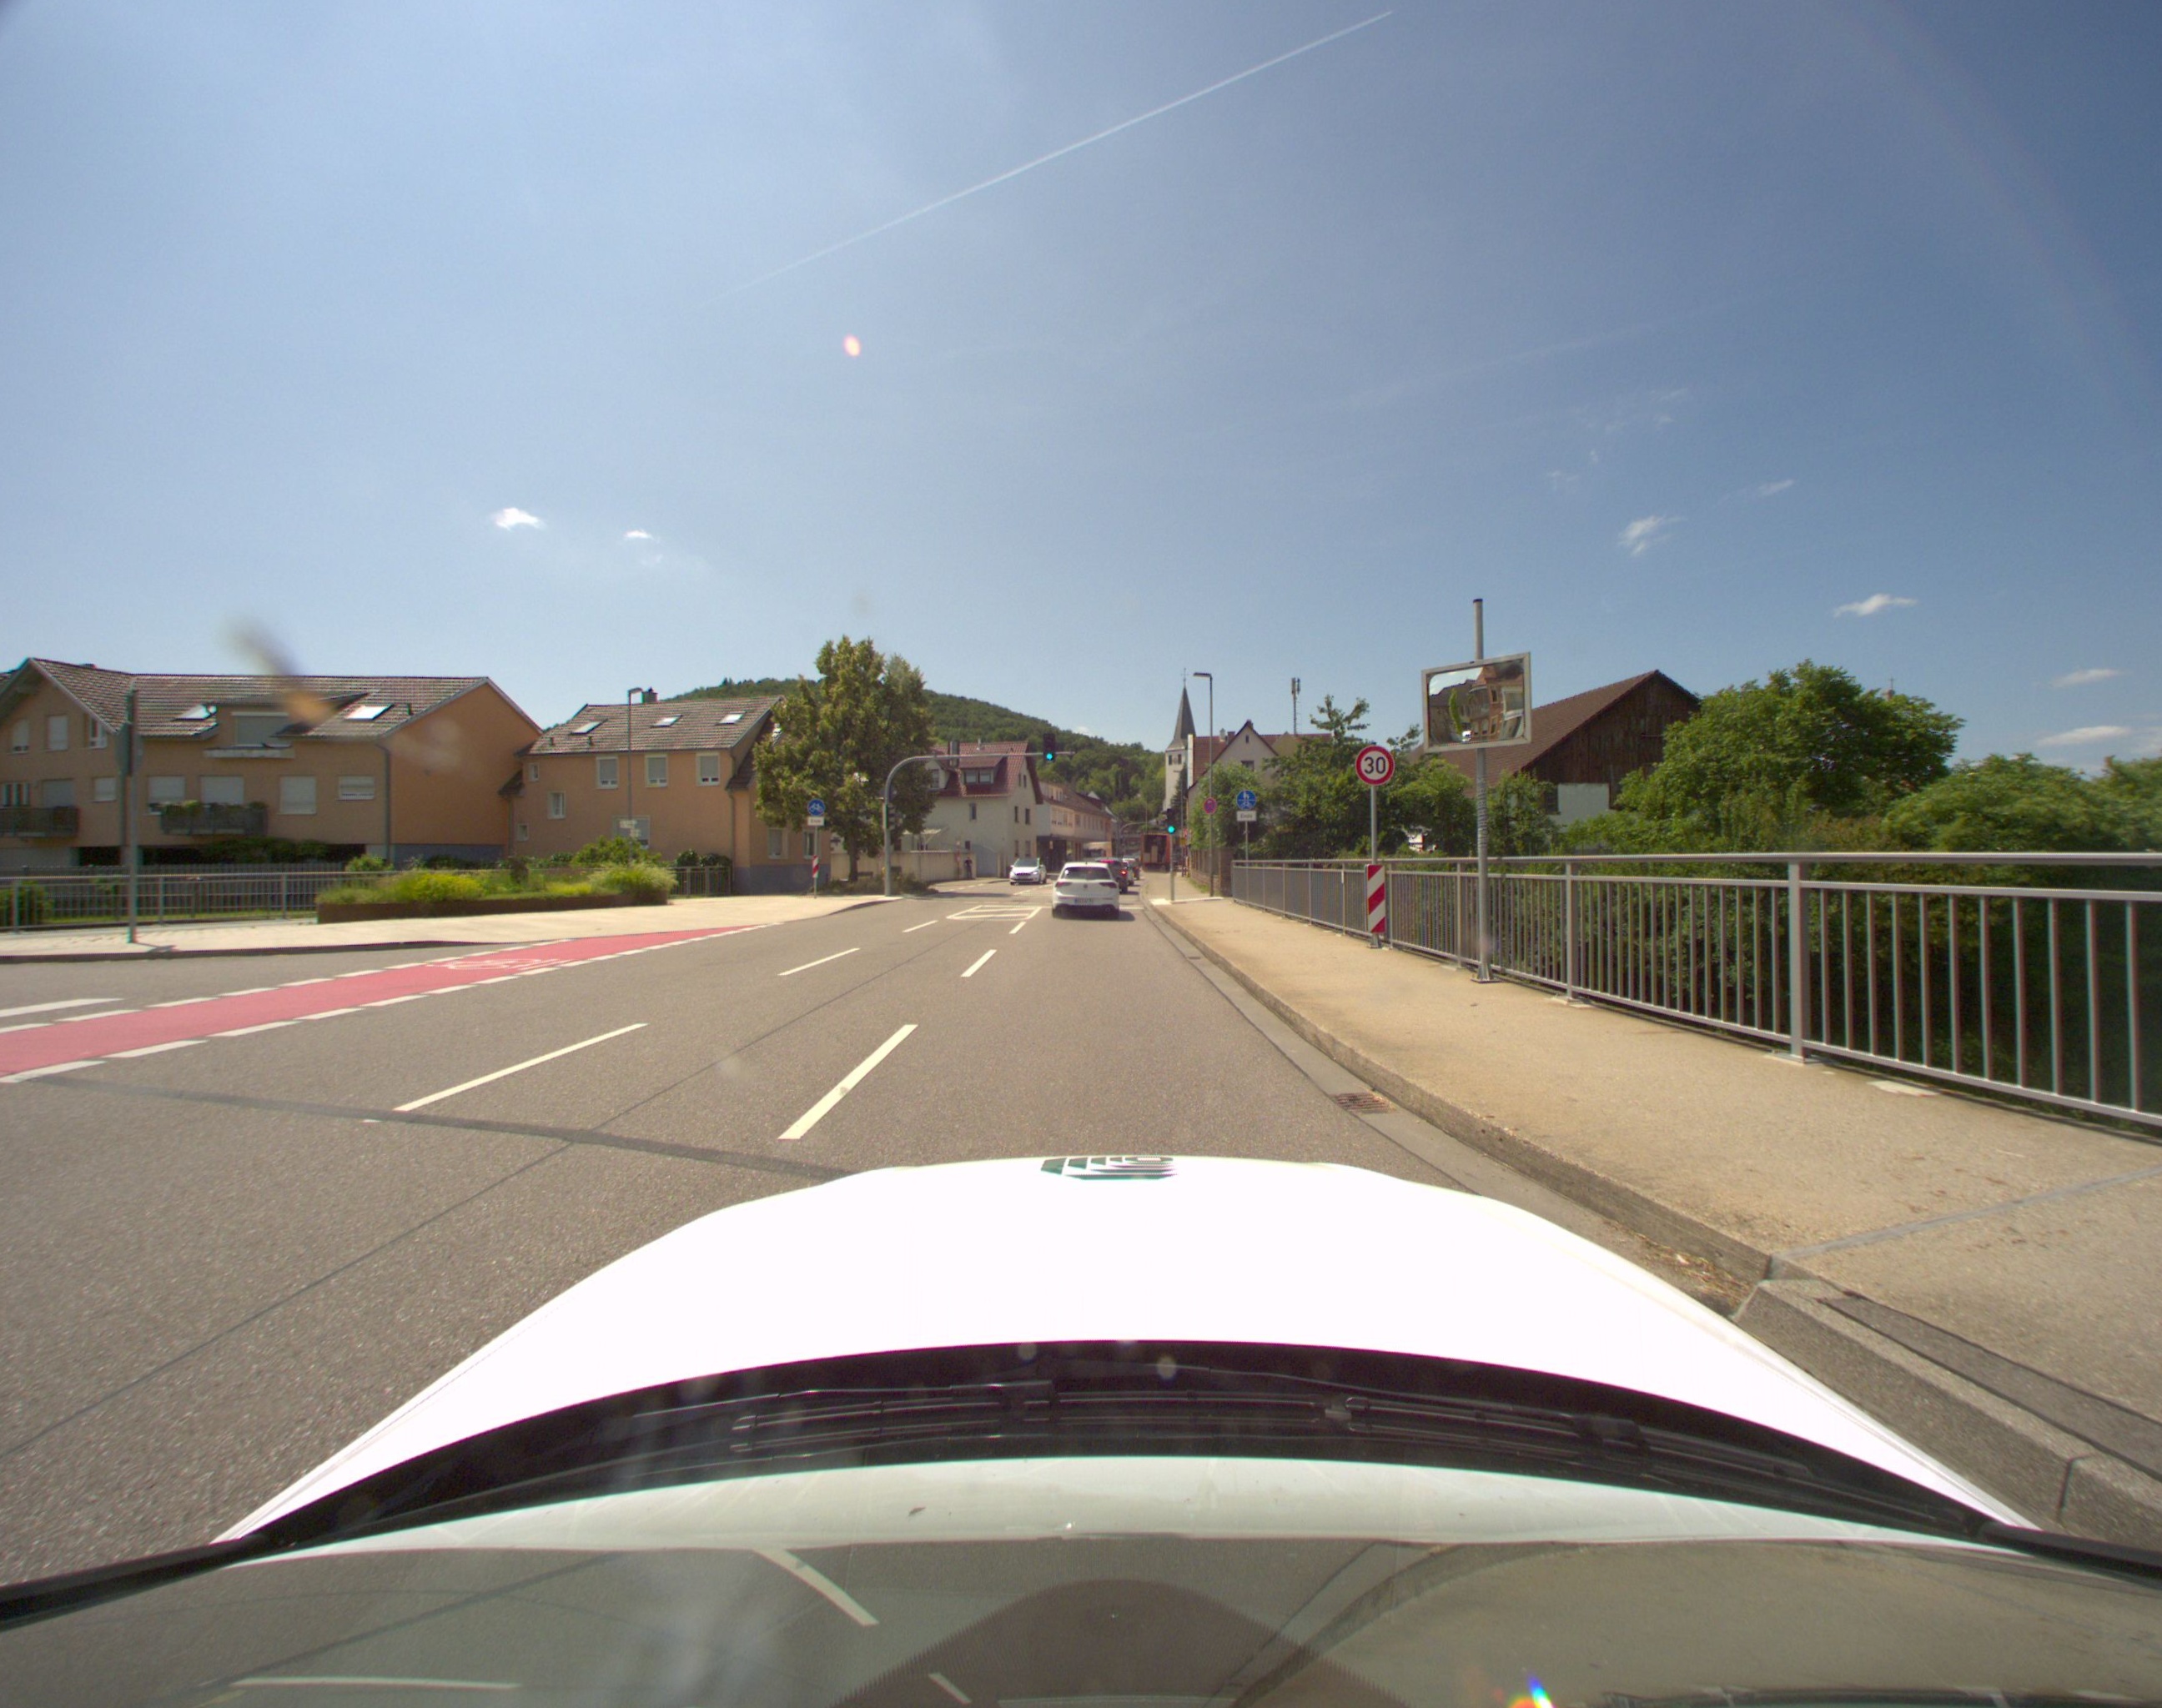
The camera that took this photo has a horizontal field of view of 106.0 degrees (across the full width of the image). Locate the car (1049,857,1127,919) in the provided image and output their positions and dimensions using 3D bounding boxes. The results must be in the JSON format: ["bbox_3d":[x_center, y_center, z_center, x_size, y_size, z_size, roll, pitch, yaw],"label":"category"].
[{"bbox_3d":[0.287,0.885,22.369,1.806,1.519,4.005,1,-1,5],"label":"car"}]

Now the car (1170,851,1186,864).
[{"bbox_3d":[12.133,0.493,101.936,1.806,1.519,4.005,-2,-1,5],"label":"car"}]

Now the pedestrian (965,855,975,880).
[{"bbox_3d":[-7.941,0.930,58.185,0.430,1.764,0.560,-1,0,24],"label":"pedestrian"}]

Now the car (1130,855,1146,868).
[{"bbox_3d":[6.857,0.910,97.825,1.806,1.519,4.005,-2,-1,5],"label":"car"}]

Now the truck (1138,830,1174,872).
[{"bbox_3d":[8.117,-0.223,87.108,3.349,4.170,9.537,-2,-1,7],"label":"truck"}]

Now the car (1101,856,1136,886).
[{"bbox_3d":[2.249,0.984,47.987,1.806,1.629,4.005,-2,-1,5],"label":"car"}]

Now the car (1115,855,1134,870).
[{"bbox_3d":[4.659,0.901,87.170,1.806,1.519,4.005,-2,-1,5],"label":"car"}]

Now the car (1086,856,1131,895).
[{"bbox_3d":[1.310,0.959,37.496,1.806,1.629,4.005,-2,-1,5],"label":"car"}]

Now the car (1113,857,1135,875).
[{"bbox_3d":[3.903,1.060,73.781,1.806,1.519,4.005,-2,-1,5],"label":"car"}]

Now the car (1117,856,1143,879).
[{"bbox_3d":[3.645,0.978,60.065,1.806,1.629,4.005,-2,-1,5],"label":"car"}]

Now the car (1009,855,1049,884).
[{"bbox_3d":[-3.120,0.947,49.343,1.806,1.650,4.005,1,-1,5],"label":"car"}]

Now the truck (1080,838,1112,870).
[{"bbox_3d":[1.619,0.074,86.454,2.487,3.235,6.054,-2,-1,9],"label":"truck"}]
